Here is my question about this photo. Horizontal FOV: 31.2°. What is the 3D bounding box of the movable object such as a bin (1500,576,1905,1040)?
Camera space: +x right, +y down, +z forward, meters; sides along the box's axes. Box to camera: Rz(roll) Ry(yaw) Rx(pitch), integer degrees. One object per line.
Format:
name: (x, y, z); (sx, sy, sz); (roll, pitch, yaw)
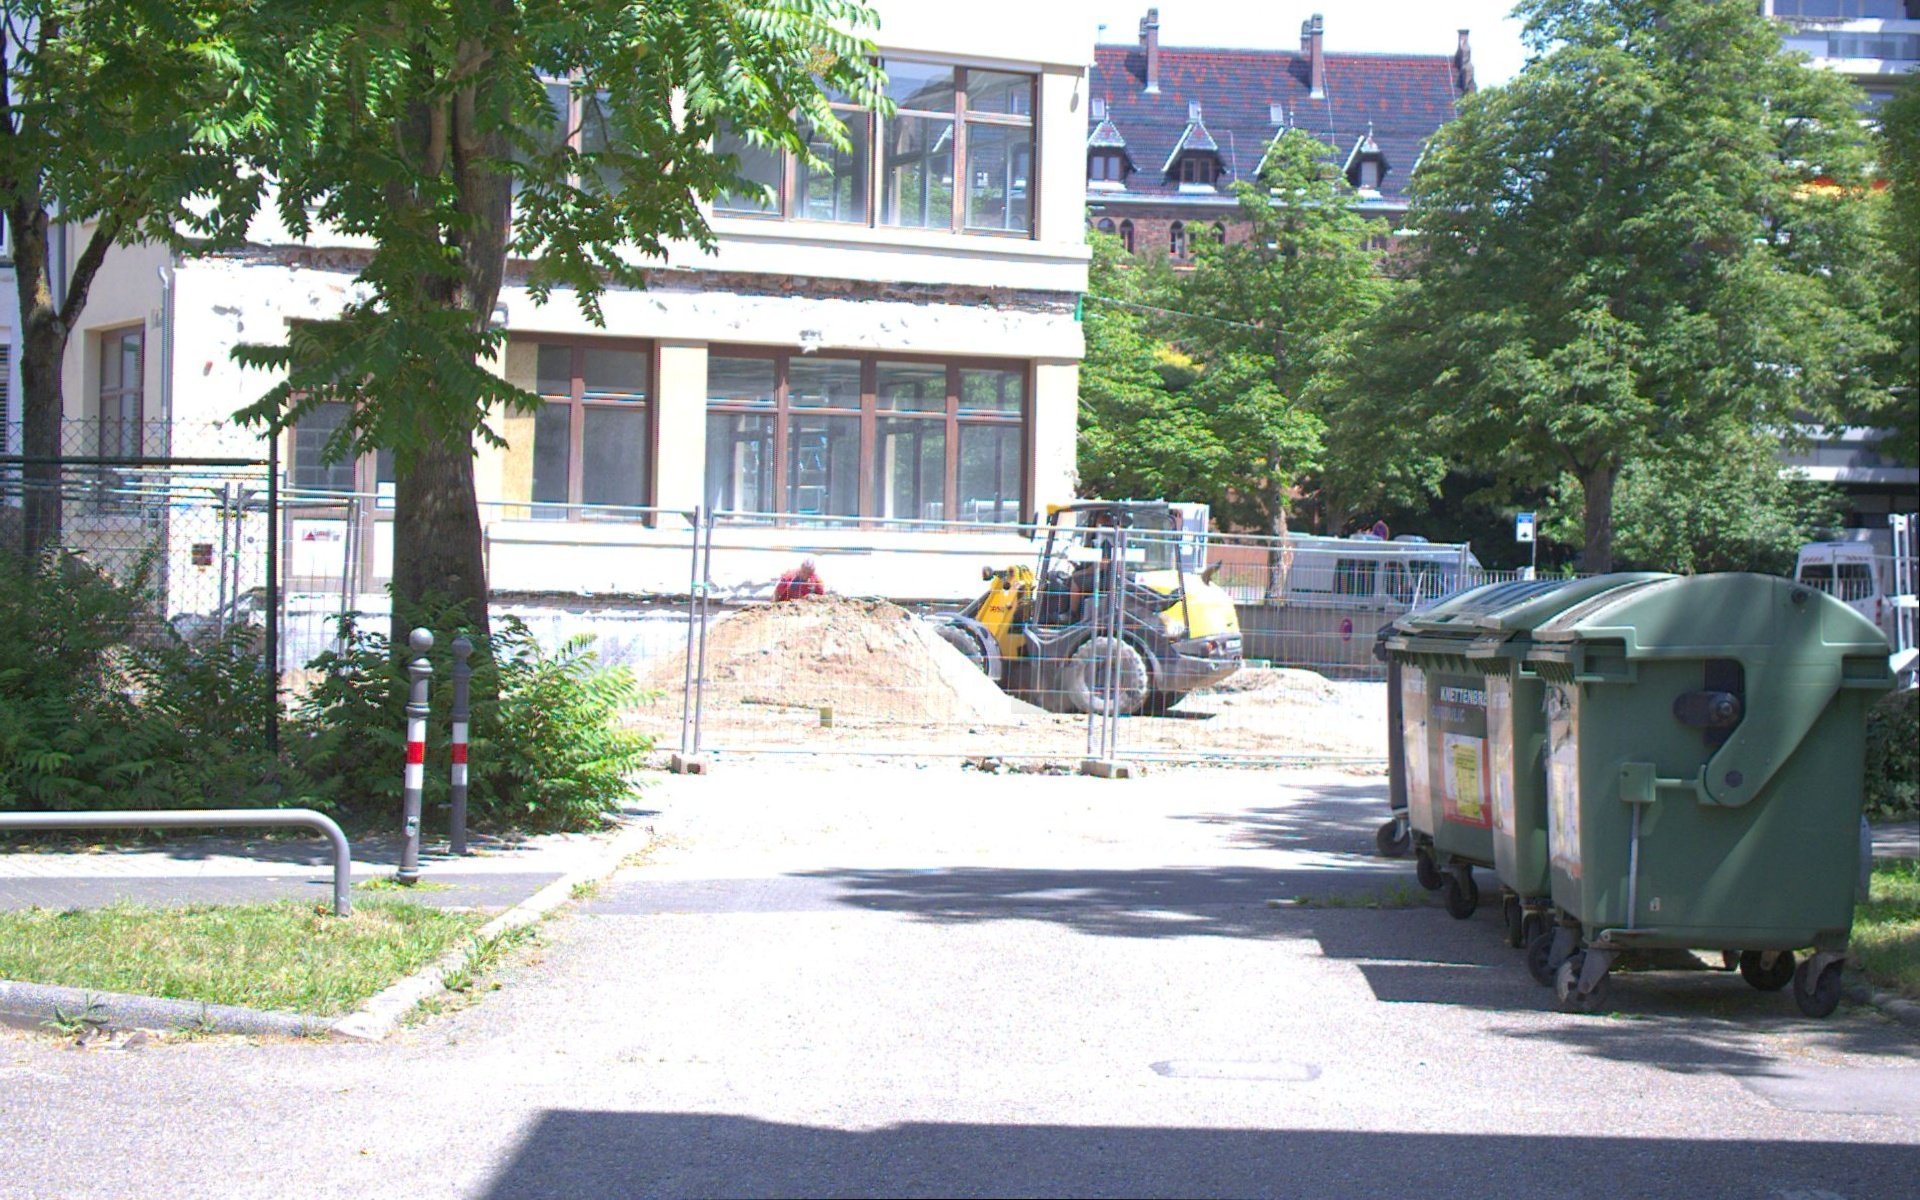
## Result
movable object such as a bin: (2.479, 0.663, 11.673); (1.075, 1.453, 1.377); (1, 0, 2)

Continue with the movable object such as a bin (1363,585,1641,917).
movable object such as a bin: (2.495, 0.674, 16.011); (1.075, 1.453, 1.377); (1, 0, 2)

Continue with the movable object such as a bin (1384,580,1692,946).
movable object such as a bin: (2.422, 0.659, 14.591); (1.075, 1.453, 1.377); (1, 0, 2)

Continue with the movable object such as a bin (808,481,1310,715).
movable object such as a bin: (1.161, -0.050, 41.117); (5.412, 2.456, 2.364); (3, 1, 29)

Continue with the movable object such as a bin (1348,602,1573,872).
movable object such as a bin: (2.820, 0.751, 19.513); (1.075, 1.453, 1.377); (1, 0, 2)

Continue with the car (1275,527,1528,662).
car: (8.247, -0.118, 64.677); (1.993, 2.408, 5.244); (1, 0, -28)

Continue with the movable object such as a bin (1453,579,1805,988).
movable object such as a bin: (2.516, 0.662, 13.116); (1.075, 1.453, 1.377); (1, 0, 2)

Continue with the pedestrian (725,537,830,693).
pedestrian: (-2.190, 0.182, 41.434); (0.915, 1.840, 0.985); (1, 0, 19)

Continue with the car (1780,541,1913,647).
car: (19.740, -0.119, 76.443); (2.187, 2.250, 4.863); (1, 0, 22)
